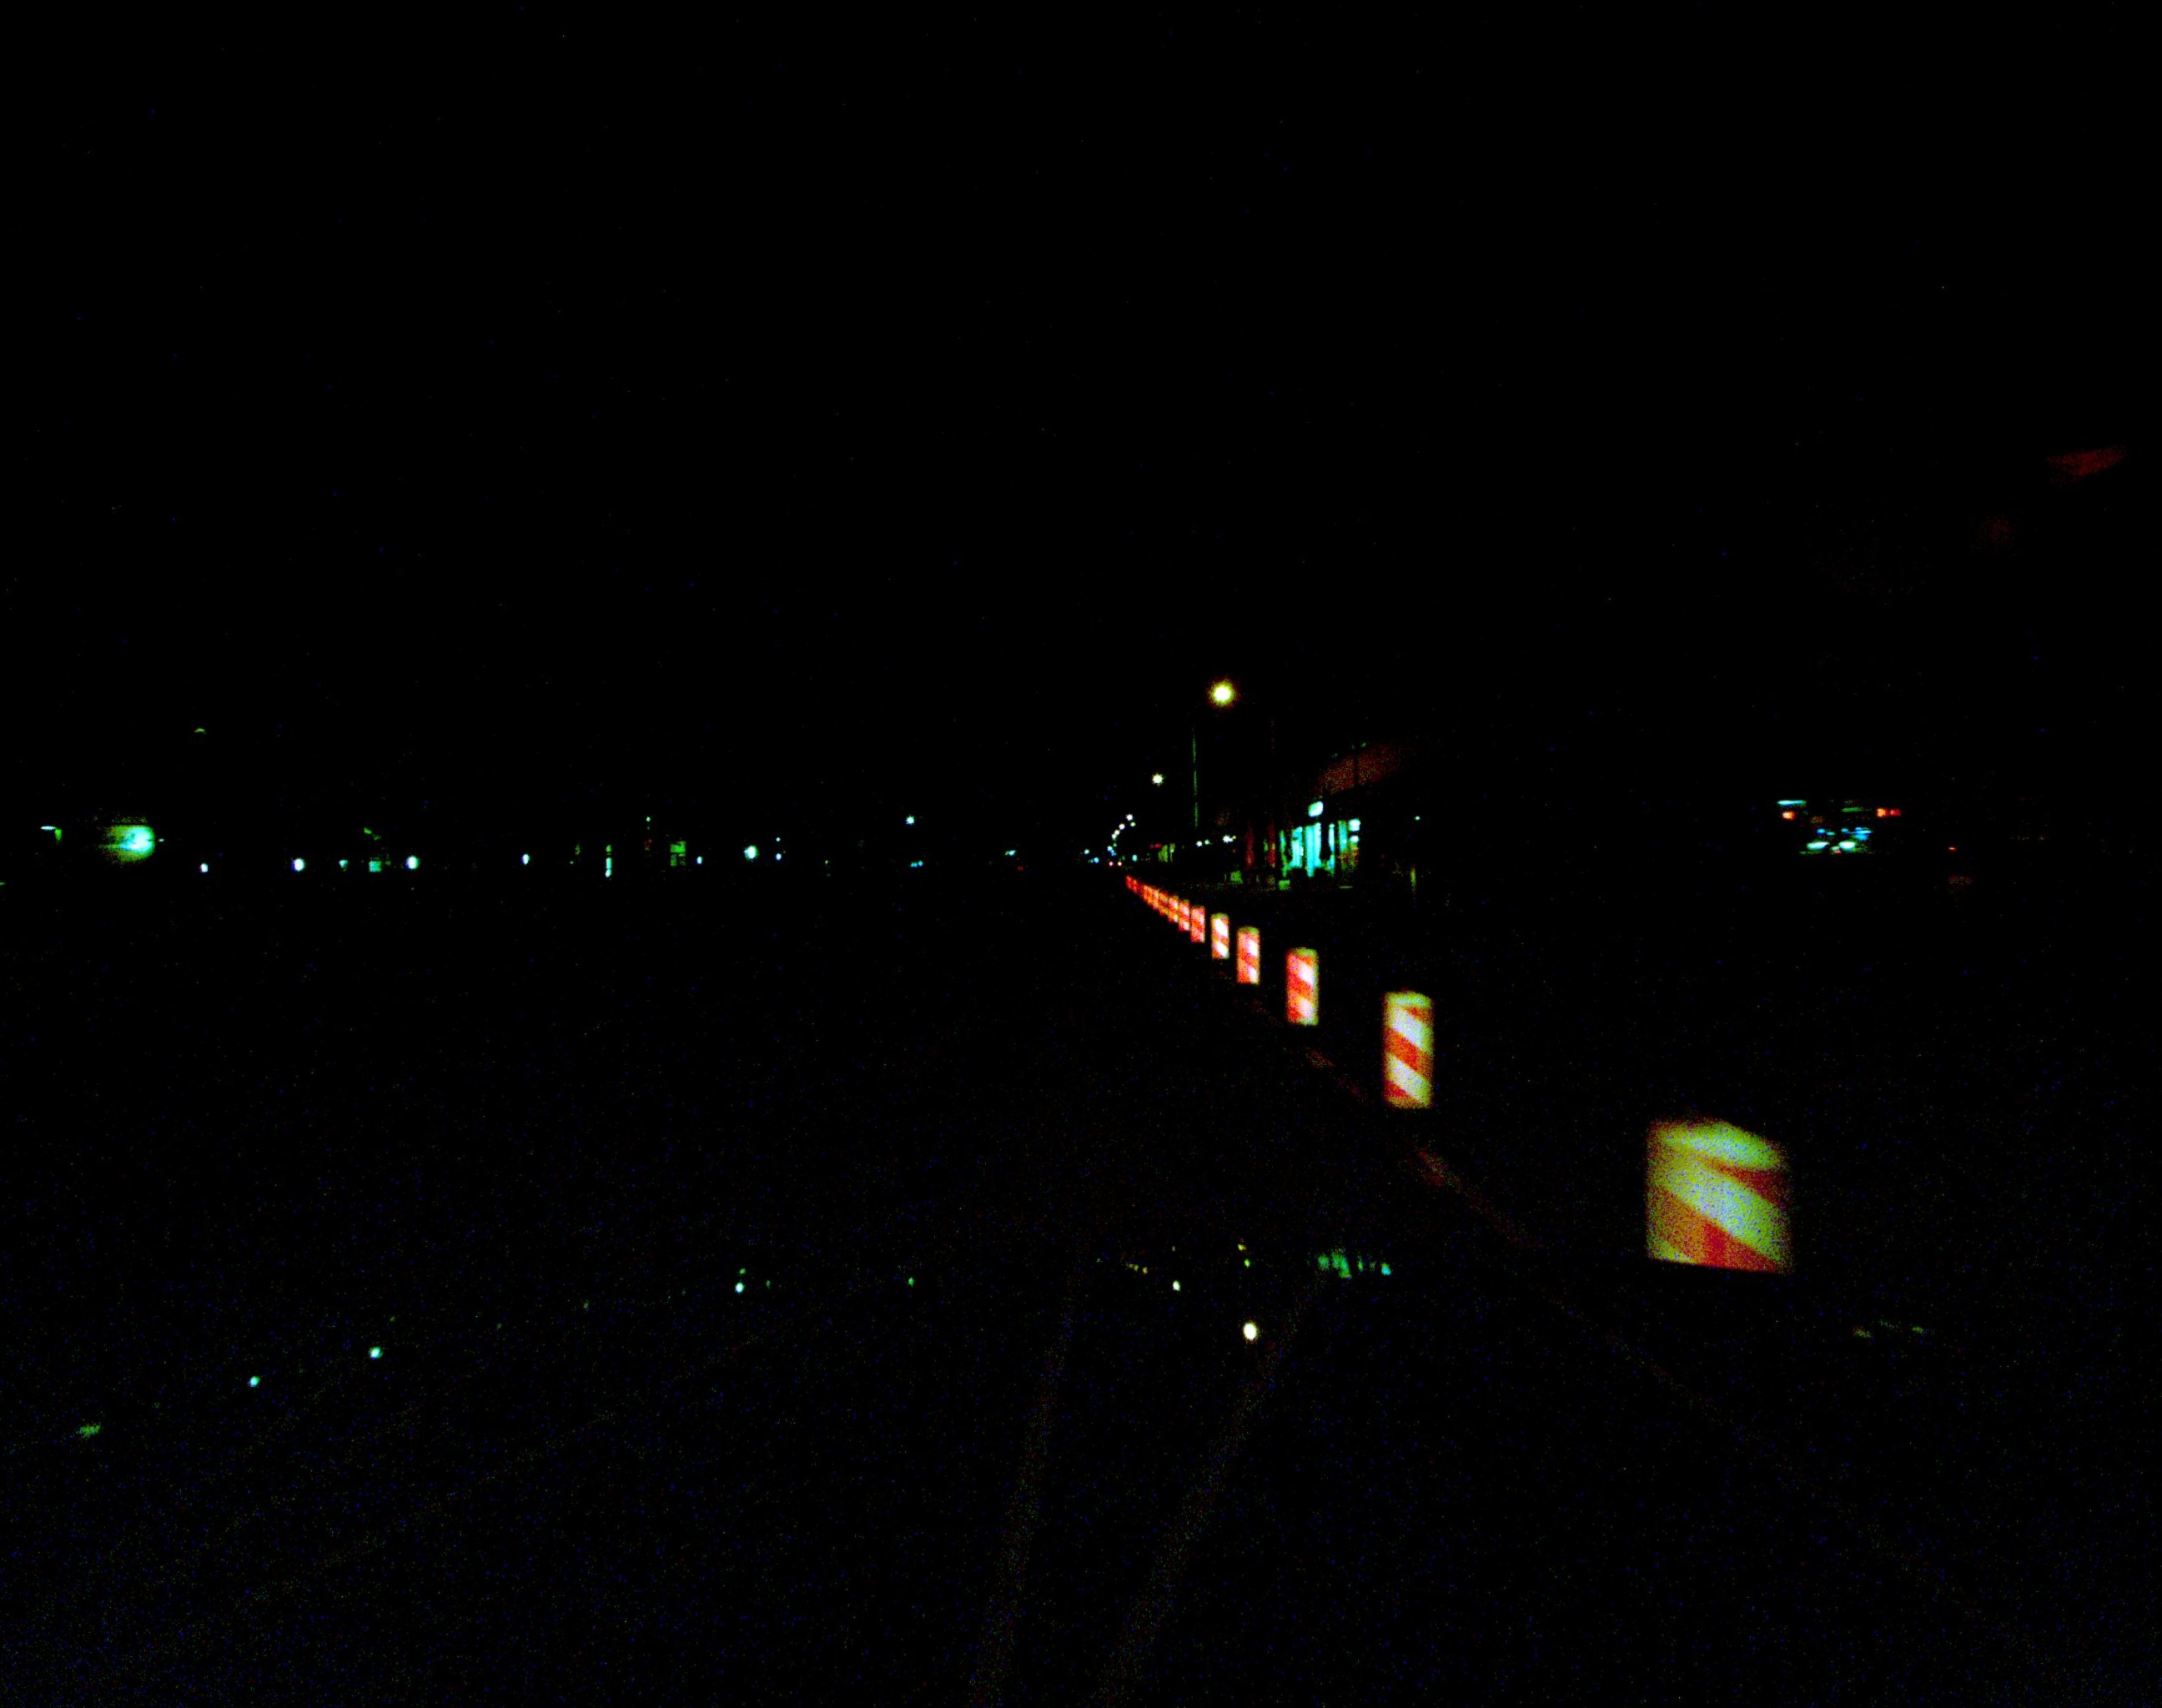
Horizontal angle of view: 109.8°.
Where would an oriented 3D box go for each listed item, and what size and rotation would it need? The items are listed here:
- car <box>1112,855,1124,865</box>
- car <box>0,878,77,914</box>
[{"bbox_3d":[5.730,0.910,117.907,1.671,1.420,4.000,0,0,0],"label":"car"},{"bbox_3d":[-48.081,1.883,33.459,1.998,1.499,4.301,-1,0,1],"label":"car"}]
